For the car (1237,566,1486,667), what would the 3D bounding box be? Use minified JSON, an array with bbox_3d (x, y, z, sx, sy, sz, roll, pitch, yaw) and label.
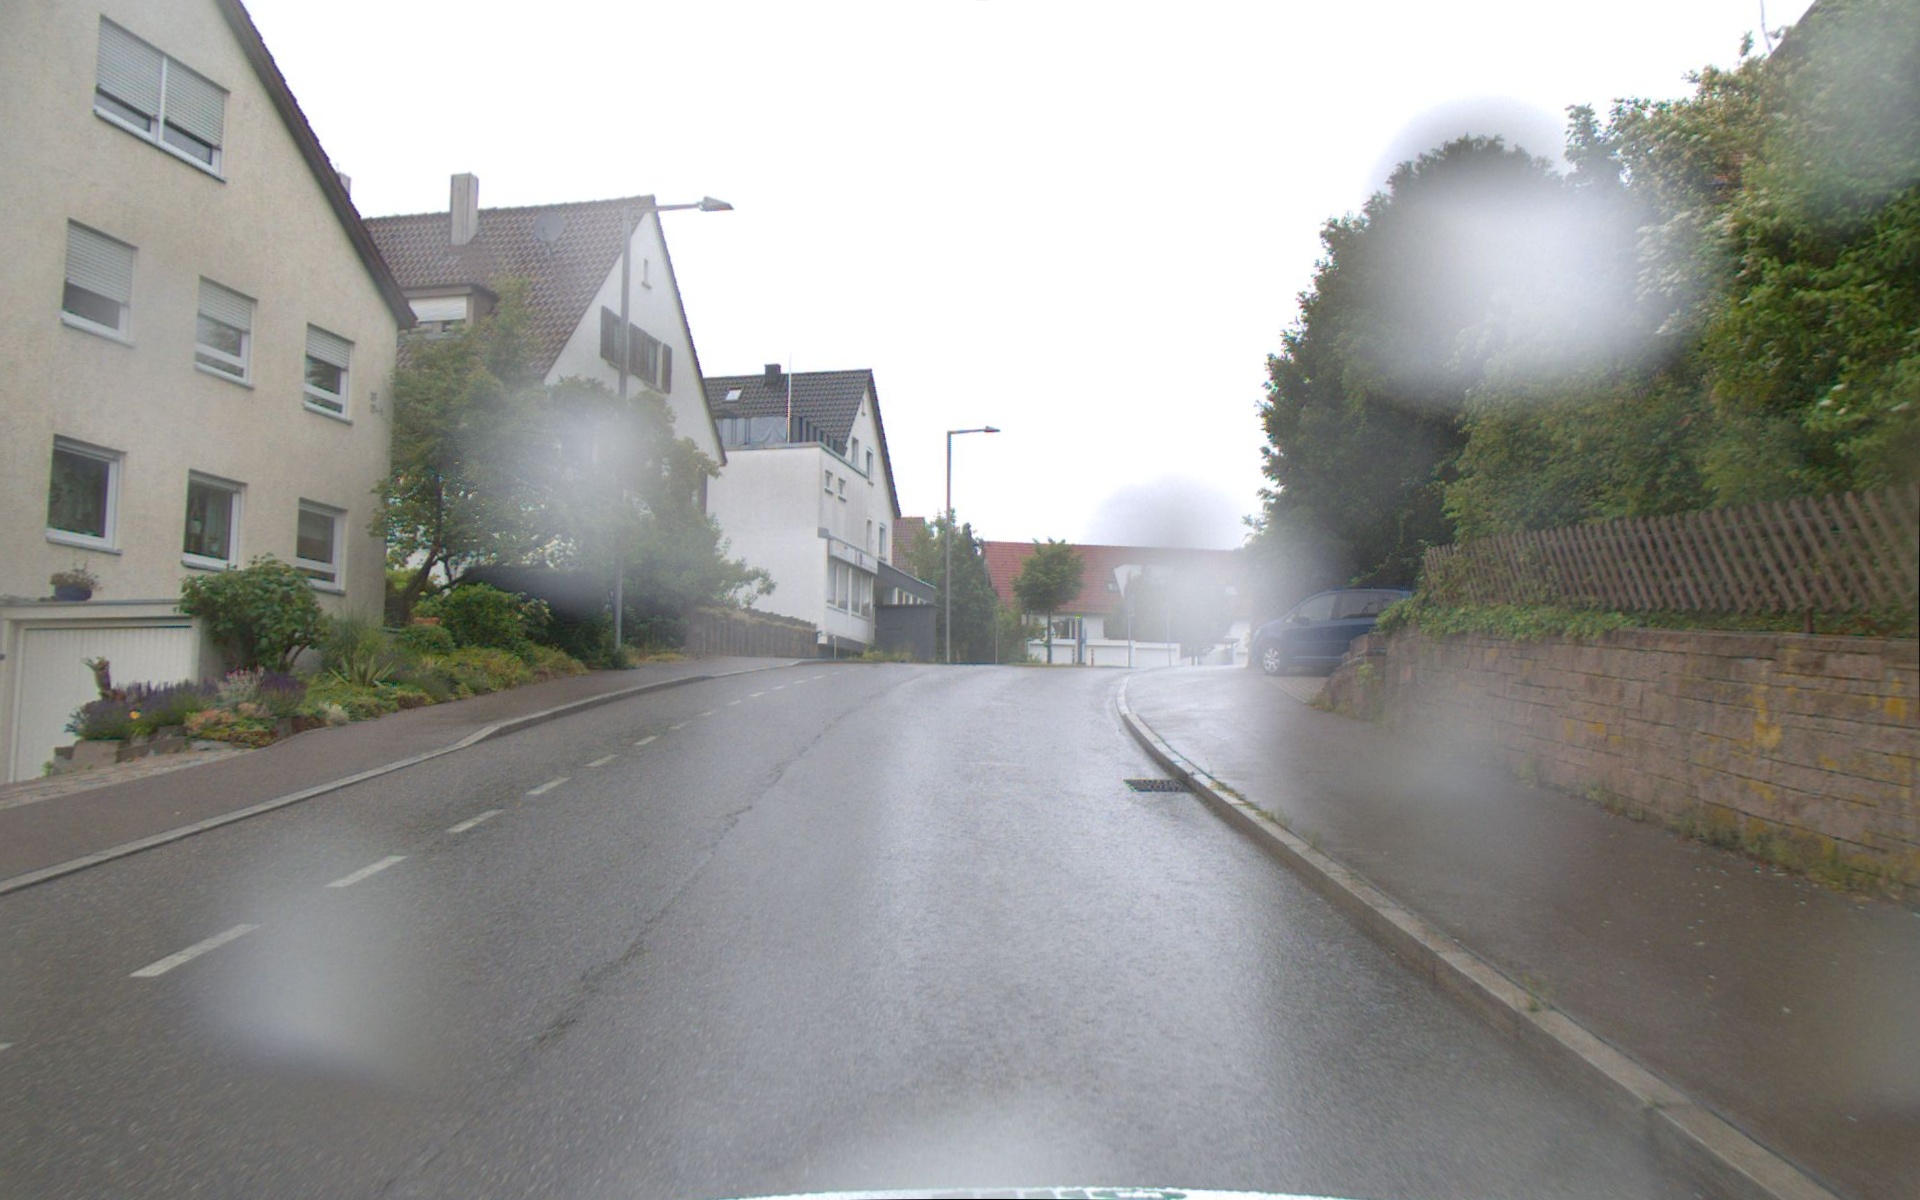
[{"bbox_3d":[7.508,0.347,31.294,1.839,1.634,4.278,-5,1,-39],"label":"car"}]
